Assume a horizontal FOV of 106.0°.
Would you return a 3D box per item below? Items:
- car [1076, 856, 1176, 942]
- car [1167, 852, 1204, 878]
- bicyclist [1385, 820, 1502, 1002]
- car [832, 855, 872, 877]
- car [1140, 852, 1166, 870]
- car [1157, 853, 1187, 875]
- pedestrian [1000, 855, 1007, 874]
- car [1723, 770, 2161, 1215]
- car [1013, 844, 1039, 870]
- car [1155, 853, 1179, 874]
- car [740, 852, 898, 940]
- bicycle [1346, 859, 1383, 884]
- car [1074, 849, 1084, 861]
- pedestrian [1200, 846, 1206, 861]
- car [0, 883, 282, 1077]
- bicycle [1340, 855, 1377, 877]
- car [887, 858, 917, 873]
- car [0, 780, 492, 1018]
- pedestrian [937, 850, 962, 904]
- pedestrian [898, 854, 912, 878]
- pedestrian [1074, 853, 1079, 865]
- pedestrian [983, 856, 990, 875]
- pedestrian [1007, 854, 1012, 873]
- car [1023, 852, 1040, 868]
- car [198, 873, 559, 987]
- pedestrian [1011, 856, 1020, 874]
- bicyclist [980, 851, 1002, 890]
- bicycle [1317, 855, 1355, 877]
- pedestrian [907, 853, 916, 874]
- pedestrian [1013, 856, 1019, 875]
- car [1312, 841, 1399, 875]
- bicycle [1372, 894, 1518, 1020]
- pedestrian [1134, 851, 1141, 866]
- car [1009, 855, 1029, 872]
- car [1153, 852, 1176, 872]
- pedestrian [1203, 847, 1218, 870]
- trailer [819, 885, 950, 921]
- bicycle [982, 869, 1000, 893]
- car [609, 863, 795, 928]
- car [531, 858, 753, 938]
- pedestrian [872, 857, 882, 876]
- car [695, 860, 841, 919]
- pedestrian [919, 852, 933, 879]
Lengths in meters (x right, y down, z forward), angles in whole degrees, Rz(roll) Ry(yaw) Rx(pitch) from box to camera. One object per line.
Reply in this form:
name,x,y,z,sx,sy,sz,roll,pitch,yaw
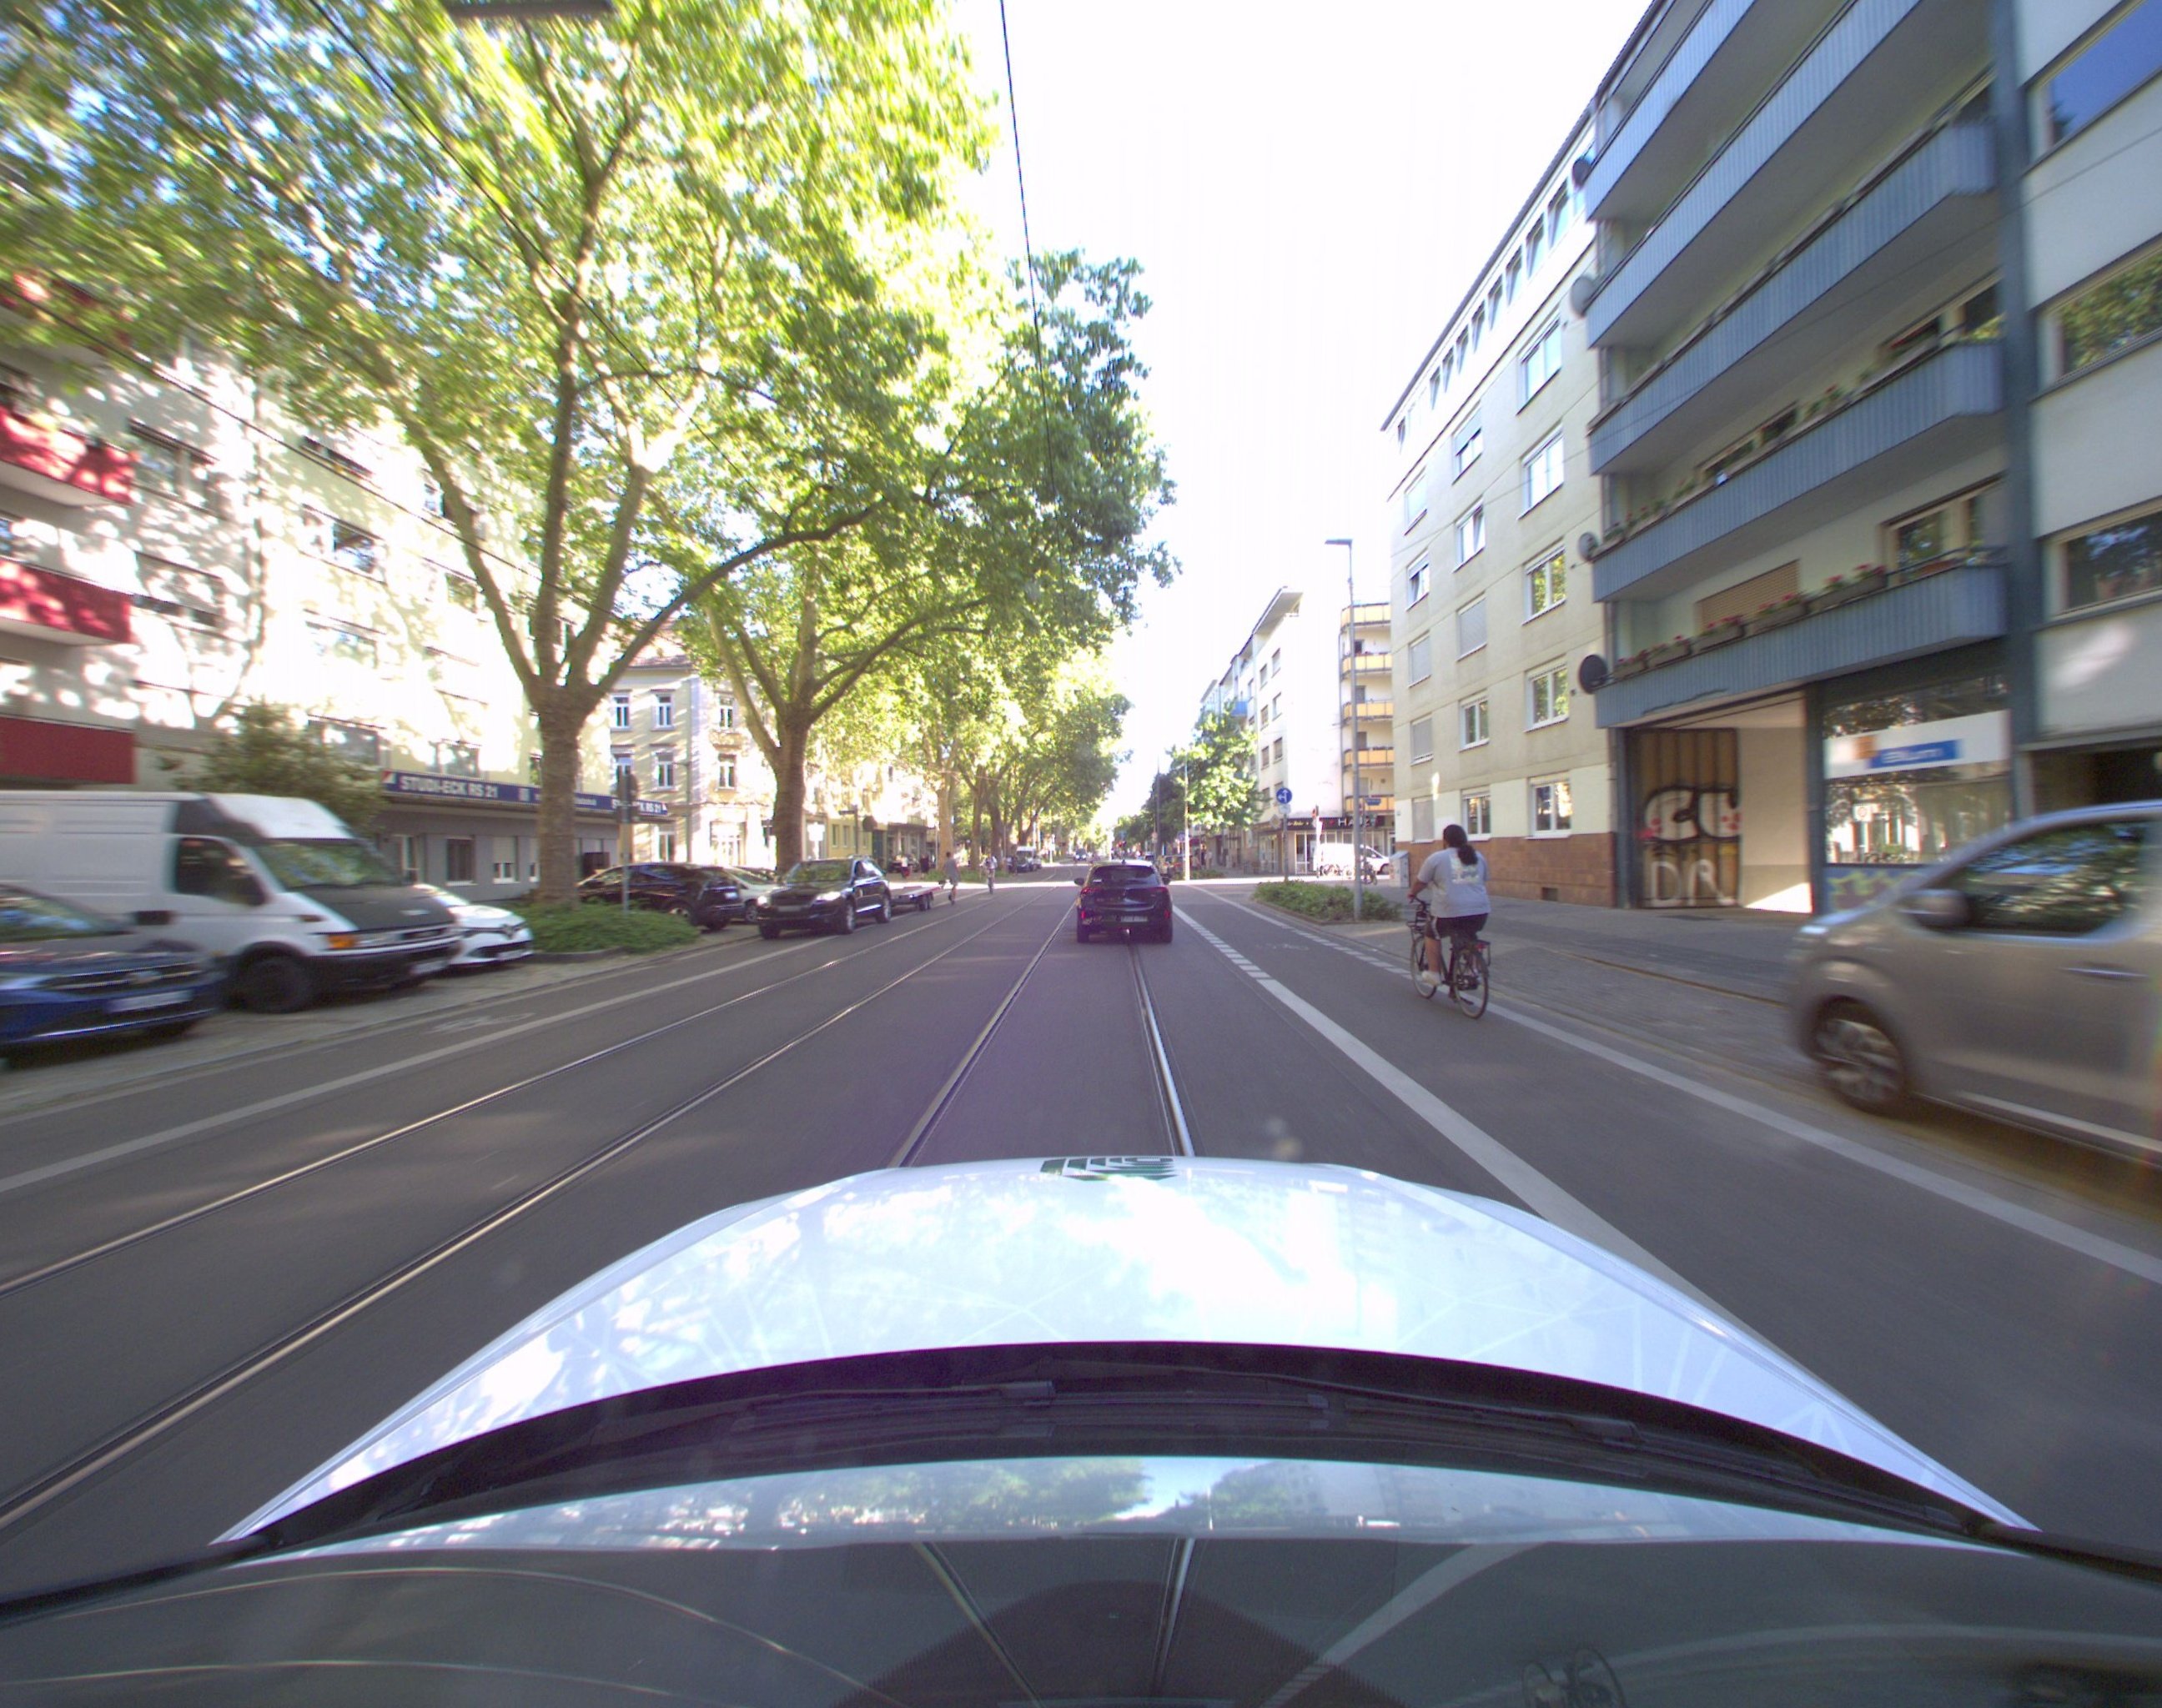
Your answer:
car,0.809,0.759,15.485,1.673,1.422,3.628,0,0,1
car,6.667,0.685,52.478,1.714,1.574,4.081,-1,0,-2
bicyclist,3.690,0.554,8.370,0.784,1.759,0.915,-1,0,1
car,-17.100,0.874,60.947,1.675,1.517,4.003,0,0,2
car,6.780,0.661,77.163,1.988,1.640,3.997,-1,0,-2
car,6.496,0.711,58.484,1.712,1.490,3.681,-1,0,0
pedestrian,-6.614,0.893,69.338,0.505,1.583,0.526,-1,0,-2
car,5.475,0.550,3.427,1.850,1.890,4.929,-3,0,4
car,-5.768,0.338,85.499,2.084,2.584,5.999,-1,0,2
car,6.583,0.715,62.362,1.644,1.574,3.086,-1,0,3
car,-5.839,0.856,18.812,1.986,1.700,4.486,-3,0,2
bicycle,12.262,0.745,35.282,0.801,1.015,1.966,-2,0,-4
car,-0.422,0.181,165.558,1.988,2.211,5.098,-1,0,-2
pedestrian,13.970,-0.062,93.251,0.626,1.732,0.633,-1,0,8
car,-10.254,1.067,7.482,4.003,1.466,1.873,-1,0,2
bicycle,14.620,0.615,42.909,1.759,1.117,0.616,-1,0,14
car,-16.272,1.007,74.211,1.689,1.276,3.829,-1,0,2
car,-10.582,0.504,10.099,4.930,2.567,2.081,-1,0,-2
pedestrian,-4.416,0.753,27.371,0.712,1.735,0.909,-3,0,-13
pedestrian,-12.161,0.808,56.366,0.845,1.632,0.643,-1,0,-4
pedestrian,-0.605,0.688,108.110,0.594,1.590,0.891,-1,0,-5
pedestrian,-8.100,0.977,69.681,0.507,1.583,0.524,-1,0,-12
pedestrian,-6.085,0.782,69.502,0.345,1.583,0.508,-1,0,0
car,-5.846,0.681,96.247,1.989,1.717,3.995,-1,0,-4
car,-10.512,1.089,12.429,3.841,1.478,1.860,-1,0,0
pedestrian,-5.611,0.941,70.177,0.681,1.583,0.557,-1,0,0
bicyclist,-3.891,0.699,35.202,0.781,1.678,0.958,-1,0,1
bicycle,13.813,0.630,44.068,1.827,1.117,0.704,-1,0,4
pedestrian,-14.017,0.778,67.372,0.549,1.652,0.650,-1,0,5
pedestrian,-5.543,0.984,69.474,0.505,1.583,0.527,-1,0,1
car,15.856,0.237,47.136,4.348,1.831,1.998,-1,0,-2
bicycle,3.750,1.009,8.595,0.698,1.092,1.990,1,-1,1
pedestrian,8.222,0.636,118.969,0.853,2.013,1.070,-6,-1,2
car,-5.984,0.911,79.154,1.749,1.508,3.997,-1,0,-2
car,6.786,0.650,66.190,1.711,1.574,3.685,-1,0,4
pedestrian,10.021,0.362,62.896,0.799,1.748,0.762,-1,0,-35
trailer,-5.592,1.402,24.250,2.152,0.632,6.403,-1,0,2
bicycle,-3.861,1.170,35.183,0.519,0.962,1.929,-1,0,0
car,-9.780,1.056,21.232,3.974,1.522,1.771,-1,0,0
car,-9.875,0.953,18.557,3.974,1.647,1.894,-1,0,0
pedestrian,-15.236,0.929,60.882,0.549,1.403,0.650,-1,0,5
car,-8.829,0.970,23.196,3.421,1.530,1.786,-1,0,-2
pedestrian,-10.823,0.799,56.872,0.903,1.869,0.643,-1,0,-4
